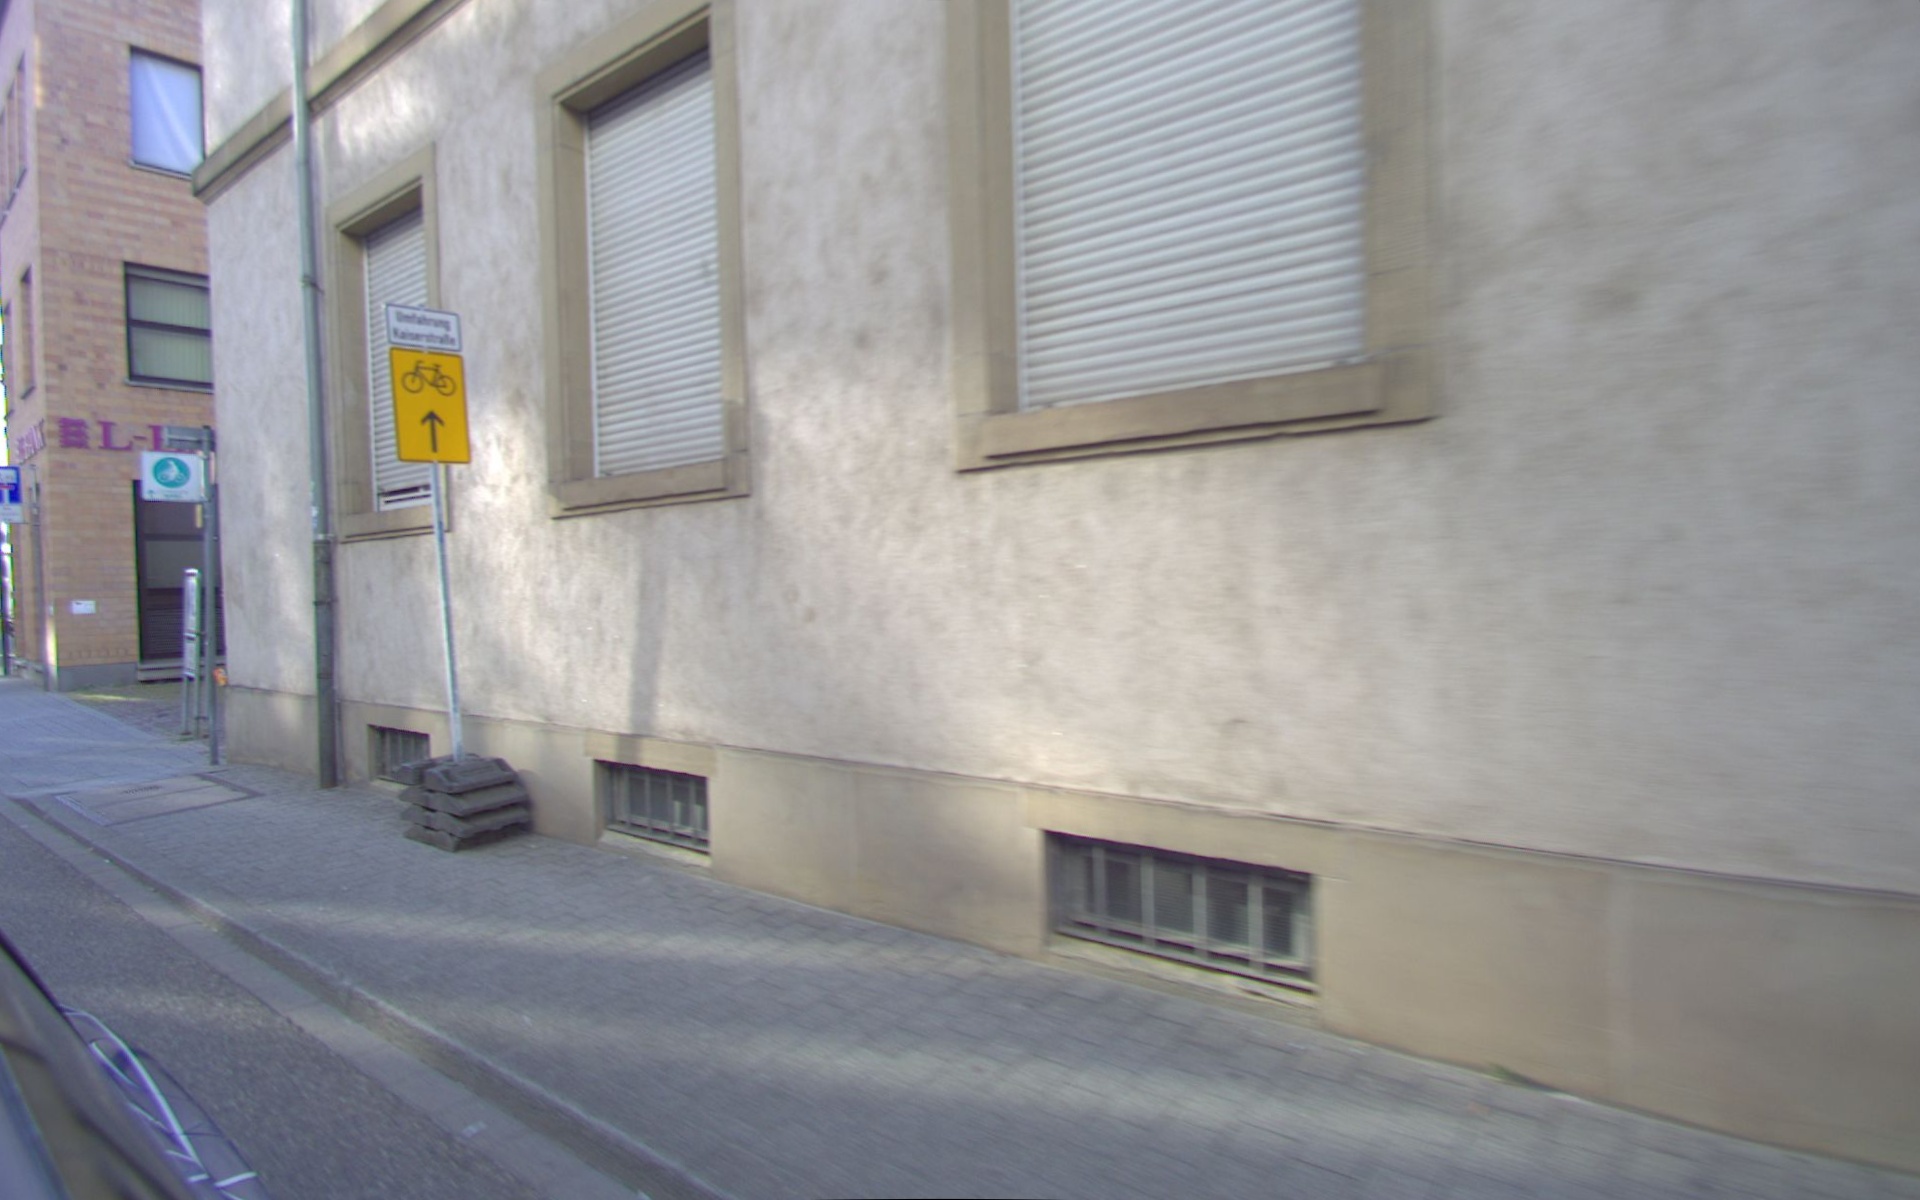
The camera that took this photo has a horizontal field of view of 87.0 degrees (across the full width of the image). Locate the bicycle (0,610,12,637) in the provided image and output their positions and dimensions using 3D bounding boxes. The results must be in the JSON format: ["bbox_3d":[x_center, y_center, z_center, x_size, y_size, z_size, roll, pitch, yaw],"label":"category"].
[{"bbox_3d":[-41.492,1.008,43.878,0.425,1.152,1.693,-3,2,-40],"label":"bicycle"}]

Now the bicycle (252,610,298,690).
[{"bbox_3d":[-10.751,0.758,15.914,0.424,1.152,1.596,-3,2,-29],"label":"bicycle"}]
